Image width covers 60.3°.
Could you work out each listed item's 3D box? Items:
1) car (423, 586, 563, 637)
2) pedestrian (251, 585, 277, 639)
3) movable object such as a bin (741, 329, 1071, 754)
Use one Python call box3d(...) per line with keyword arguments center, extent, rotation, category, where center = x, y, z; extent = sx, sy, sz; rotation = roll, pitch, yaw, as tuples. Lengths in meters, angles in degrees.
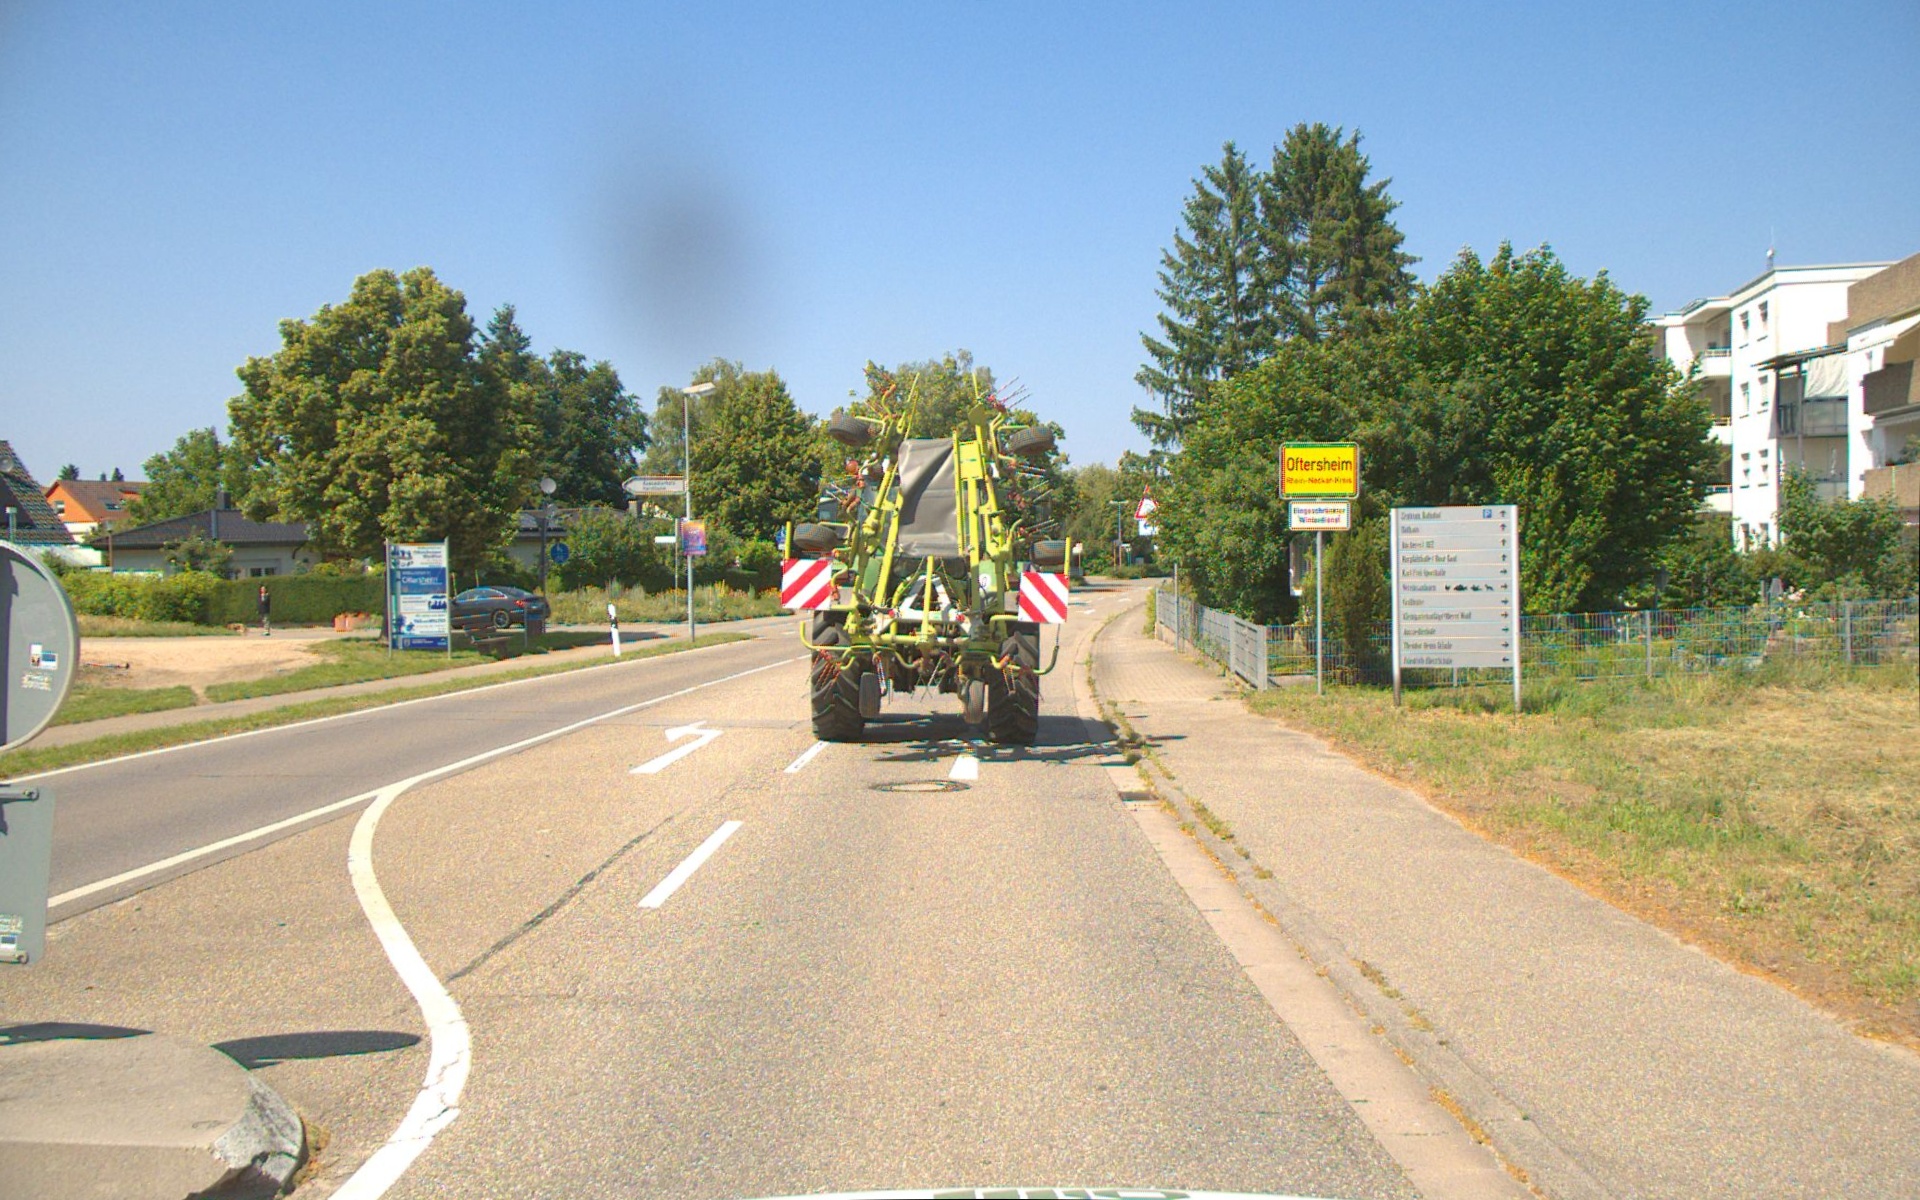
box3d(center=(-15.592, 0.374, 55.330), extent=(4.000, 1.545, 2.002), rotation=(-2, 1, 13), category="car")
box3d(center=(-22.870, 0.387, 54.324), extent=(0.669, 1.746, 0.543), rotation=(-1, 1, -36), category="pedestrian")
box3d(center=(-0.326, -0.572, 18.892), extent=(2.794, 3.603, 9.703), rotation=(0, 1, 2), category="movable object such as a bin")
